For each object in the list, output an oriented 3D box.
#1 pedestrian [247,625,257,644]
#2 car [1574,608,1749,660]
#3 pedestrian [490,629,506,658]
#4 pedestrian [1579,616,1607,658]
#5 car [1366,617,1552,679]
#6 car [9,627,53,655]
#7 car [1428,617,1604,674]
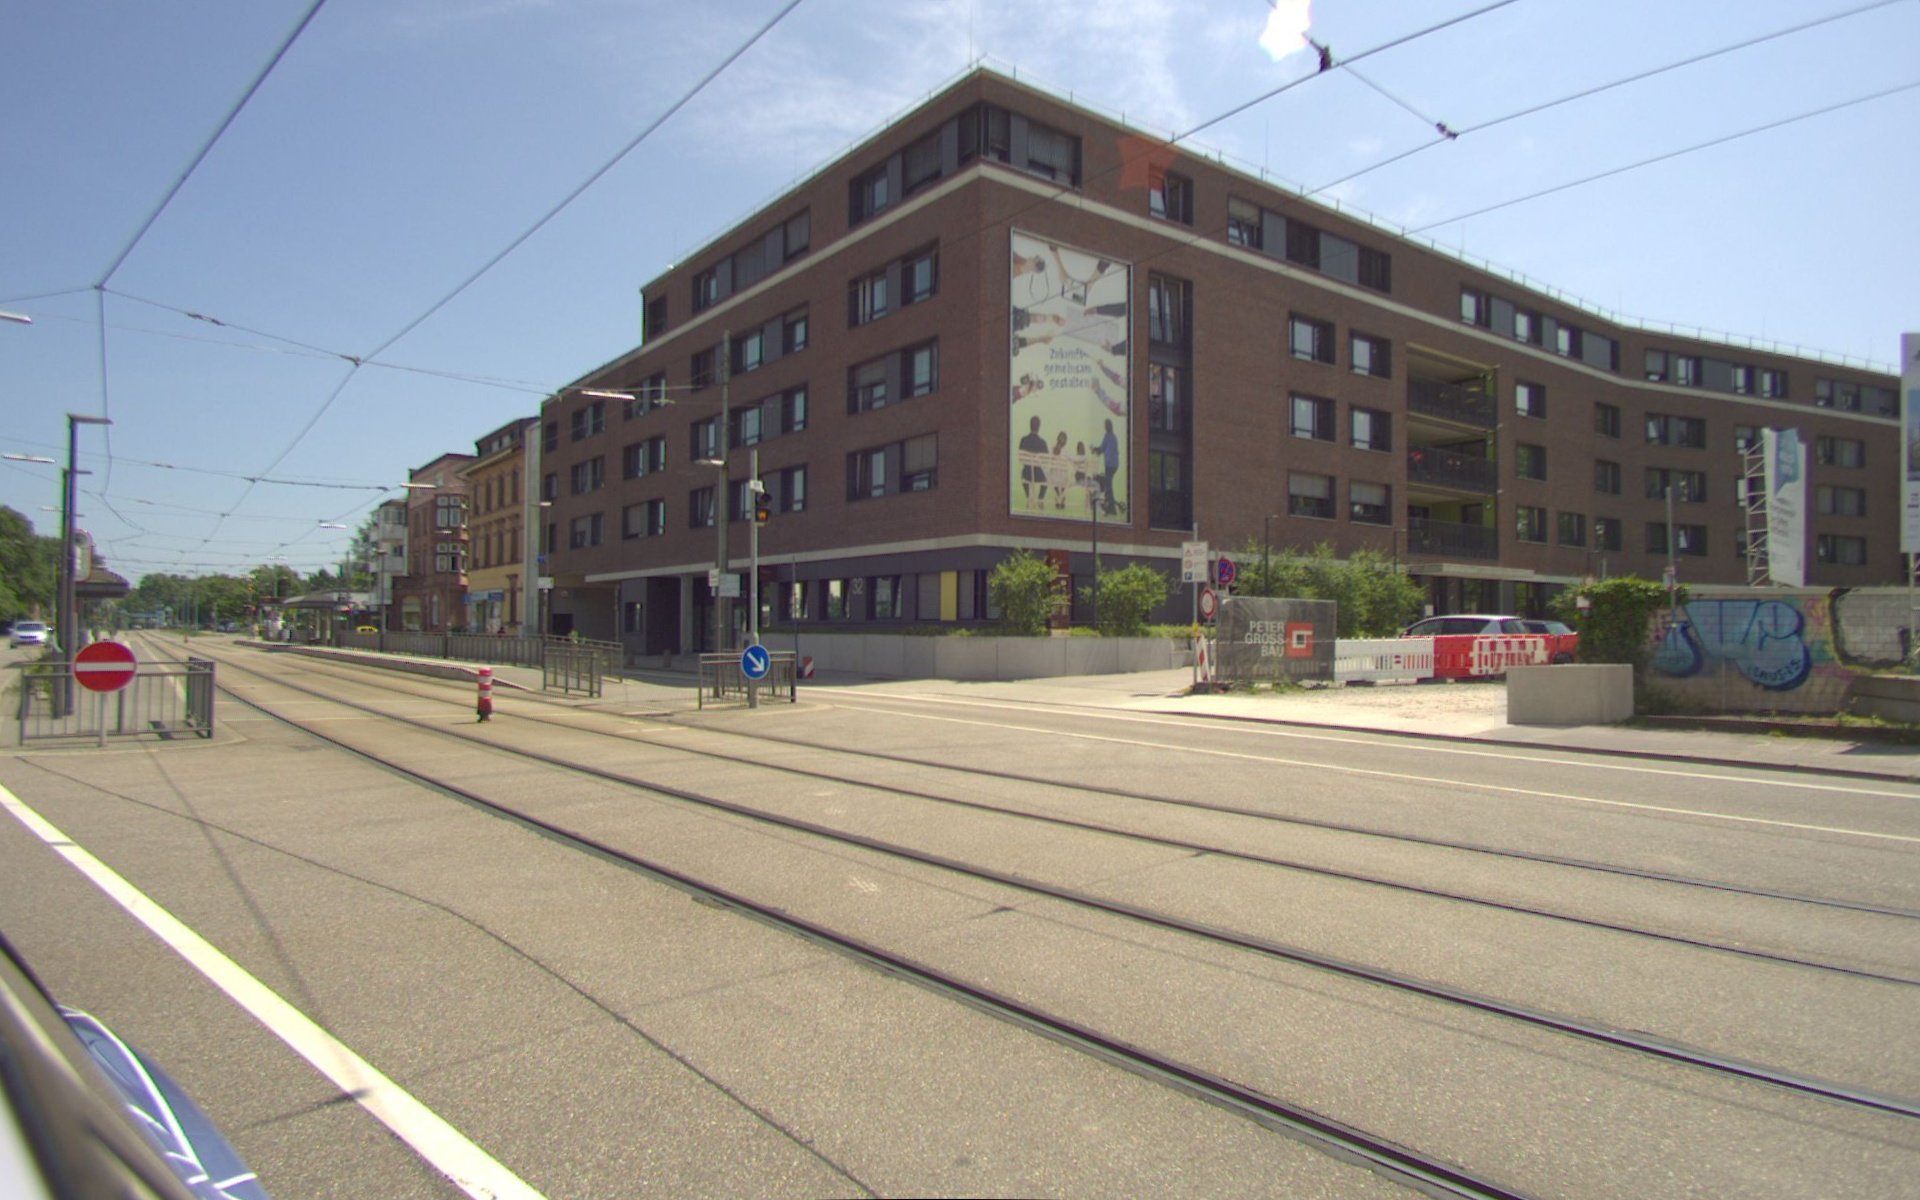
[{"bbox_3d":[-62.568,3.078,89.454,0.588,1.637,0.678,3,-3,-39],"label":"pedestrian"},{"bbox_3d":[21.195,1.014,30.701,1.709,1.479,4.009,1,-2,-37],"label":"car"},{"bbox_3d":[-25.899,2.427,56.730,0.595,1.608,0.716,2,-2,-42],"label":"pedestrian"},{"bbox_3d":[25.260,1.467,40.388,0.594,1.676,0.688,0,-1,-31],"label":"pedestrian"},{"bbox_3d":[12.906,1.208,26.406,1.708,1.479,4.010,0,-1,-35],"label":"car"},{"bbox_3d":[-56.079,2.451,61.061,4.489,1.567,1.724,-2,-1,45],"label":"car"},{"bbox_3d":[15.645,1.239,28.635,1.709,1.479,4.009,1,-2,-37],"label":"car"}]
